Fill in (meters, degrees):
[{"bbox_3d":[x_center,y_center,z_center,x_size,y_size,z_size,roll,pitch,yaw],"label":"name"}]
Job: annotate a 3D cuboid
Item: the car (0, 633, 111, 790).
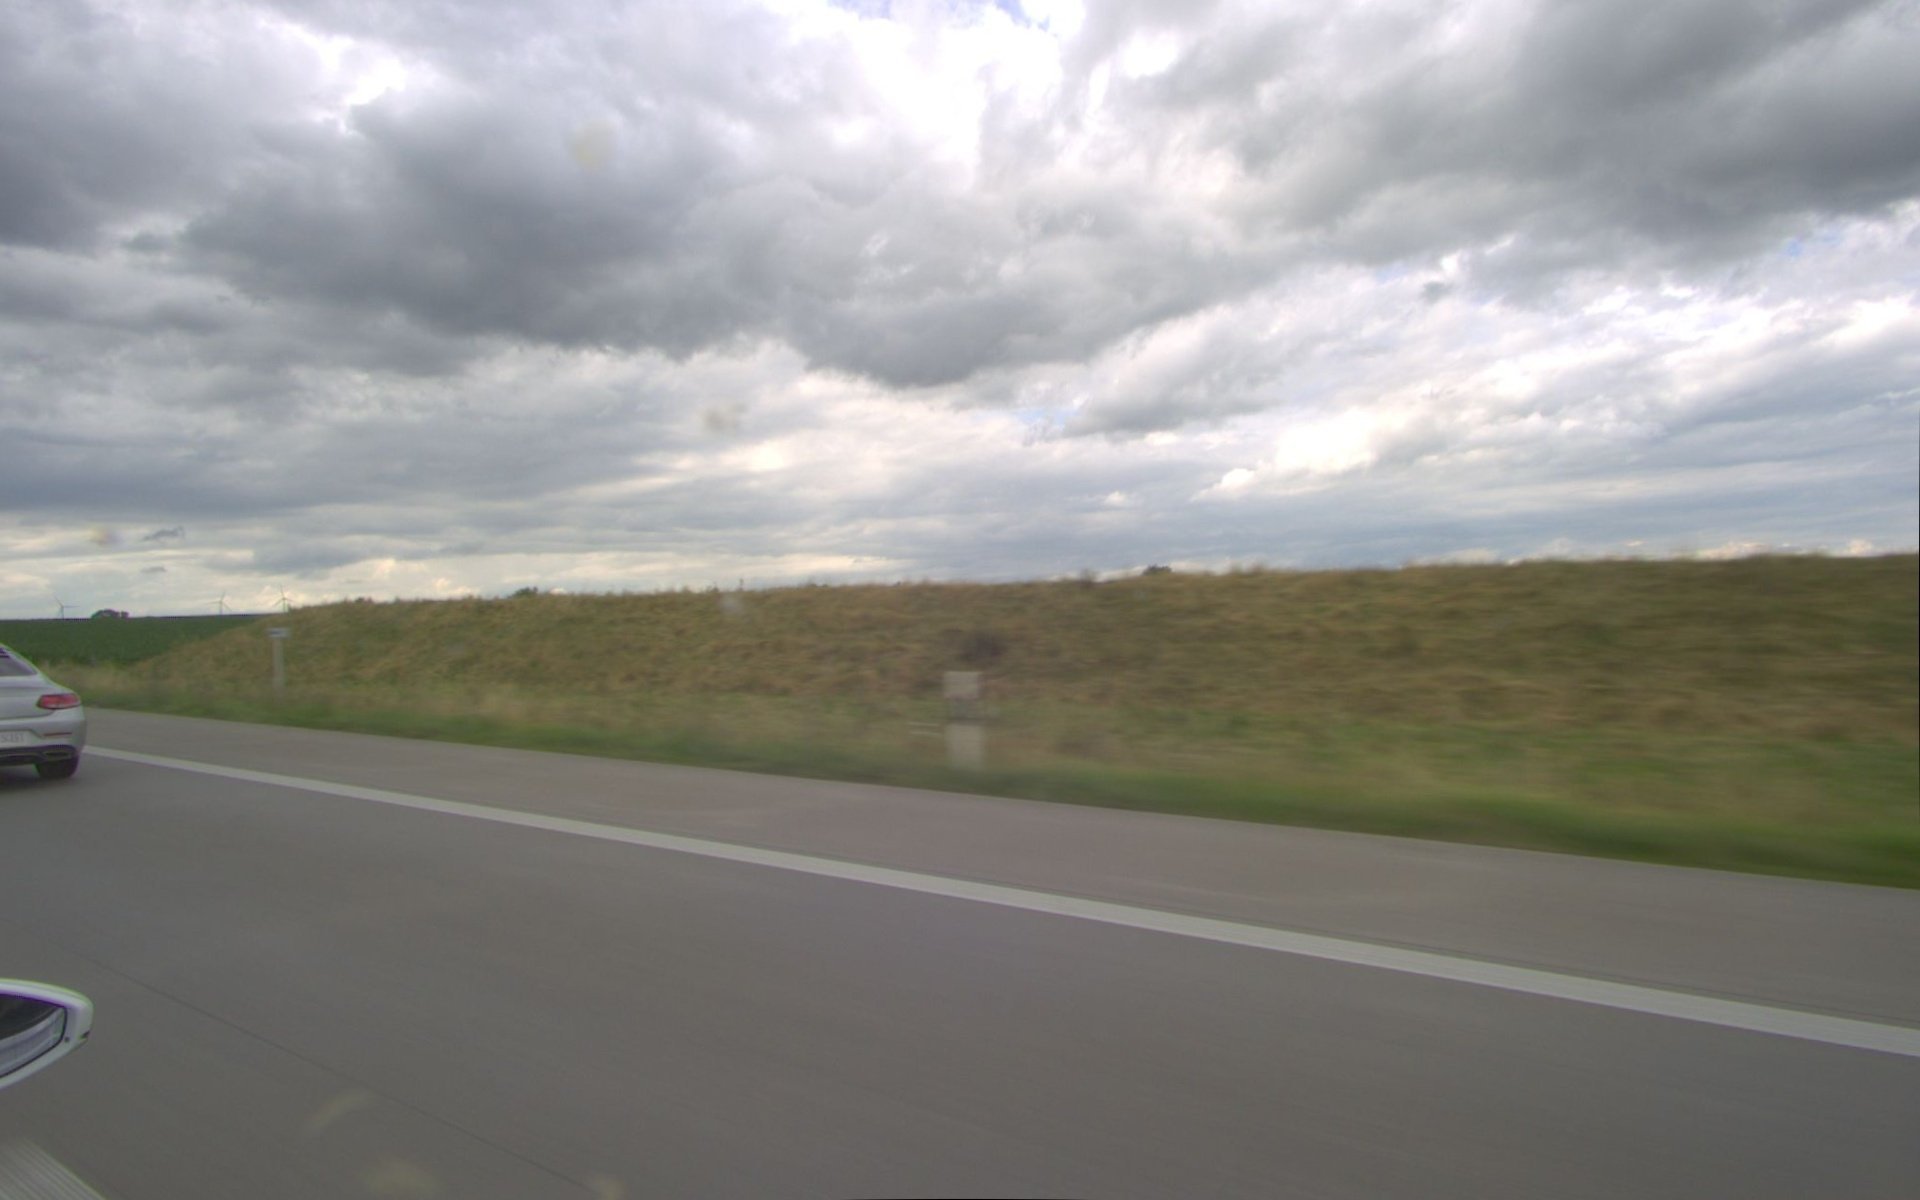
[{"bbox_3d":[-10.530,1.061,10.146,4.161,1.421,1.785,-2,-2,32],"label":"car"}]
